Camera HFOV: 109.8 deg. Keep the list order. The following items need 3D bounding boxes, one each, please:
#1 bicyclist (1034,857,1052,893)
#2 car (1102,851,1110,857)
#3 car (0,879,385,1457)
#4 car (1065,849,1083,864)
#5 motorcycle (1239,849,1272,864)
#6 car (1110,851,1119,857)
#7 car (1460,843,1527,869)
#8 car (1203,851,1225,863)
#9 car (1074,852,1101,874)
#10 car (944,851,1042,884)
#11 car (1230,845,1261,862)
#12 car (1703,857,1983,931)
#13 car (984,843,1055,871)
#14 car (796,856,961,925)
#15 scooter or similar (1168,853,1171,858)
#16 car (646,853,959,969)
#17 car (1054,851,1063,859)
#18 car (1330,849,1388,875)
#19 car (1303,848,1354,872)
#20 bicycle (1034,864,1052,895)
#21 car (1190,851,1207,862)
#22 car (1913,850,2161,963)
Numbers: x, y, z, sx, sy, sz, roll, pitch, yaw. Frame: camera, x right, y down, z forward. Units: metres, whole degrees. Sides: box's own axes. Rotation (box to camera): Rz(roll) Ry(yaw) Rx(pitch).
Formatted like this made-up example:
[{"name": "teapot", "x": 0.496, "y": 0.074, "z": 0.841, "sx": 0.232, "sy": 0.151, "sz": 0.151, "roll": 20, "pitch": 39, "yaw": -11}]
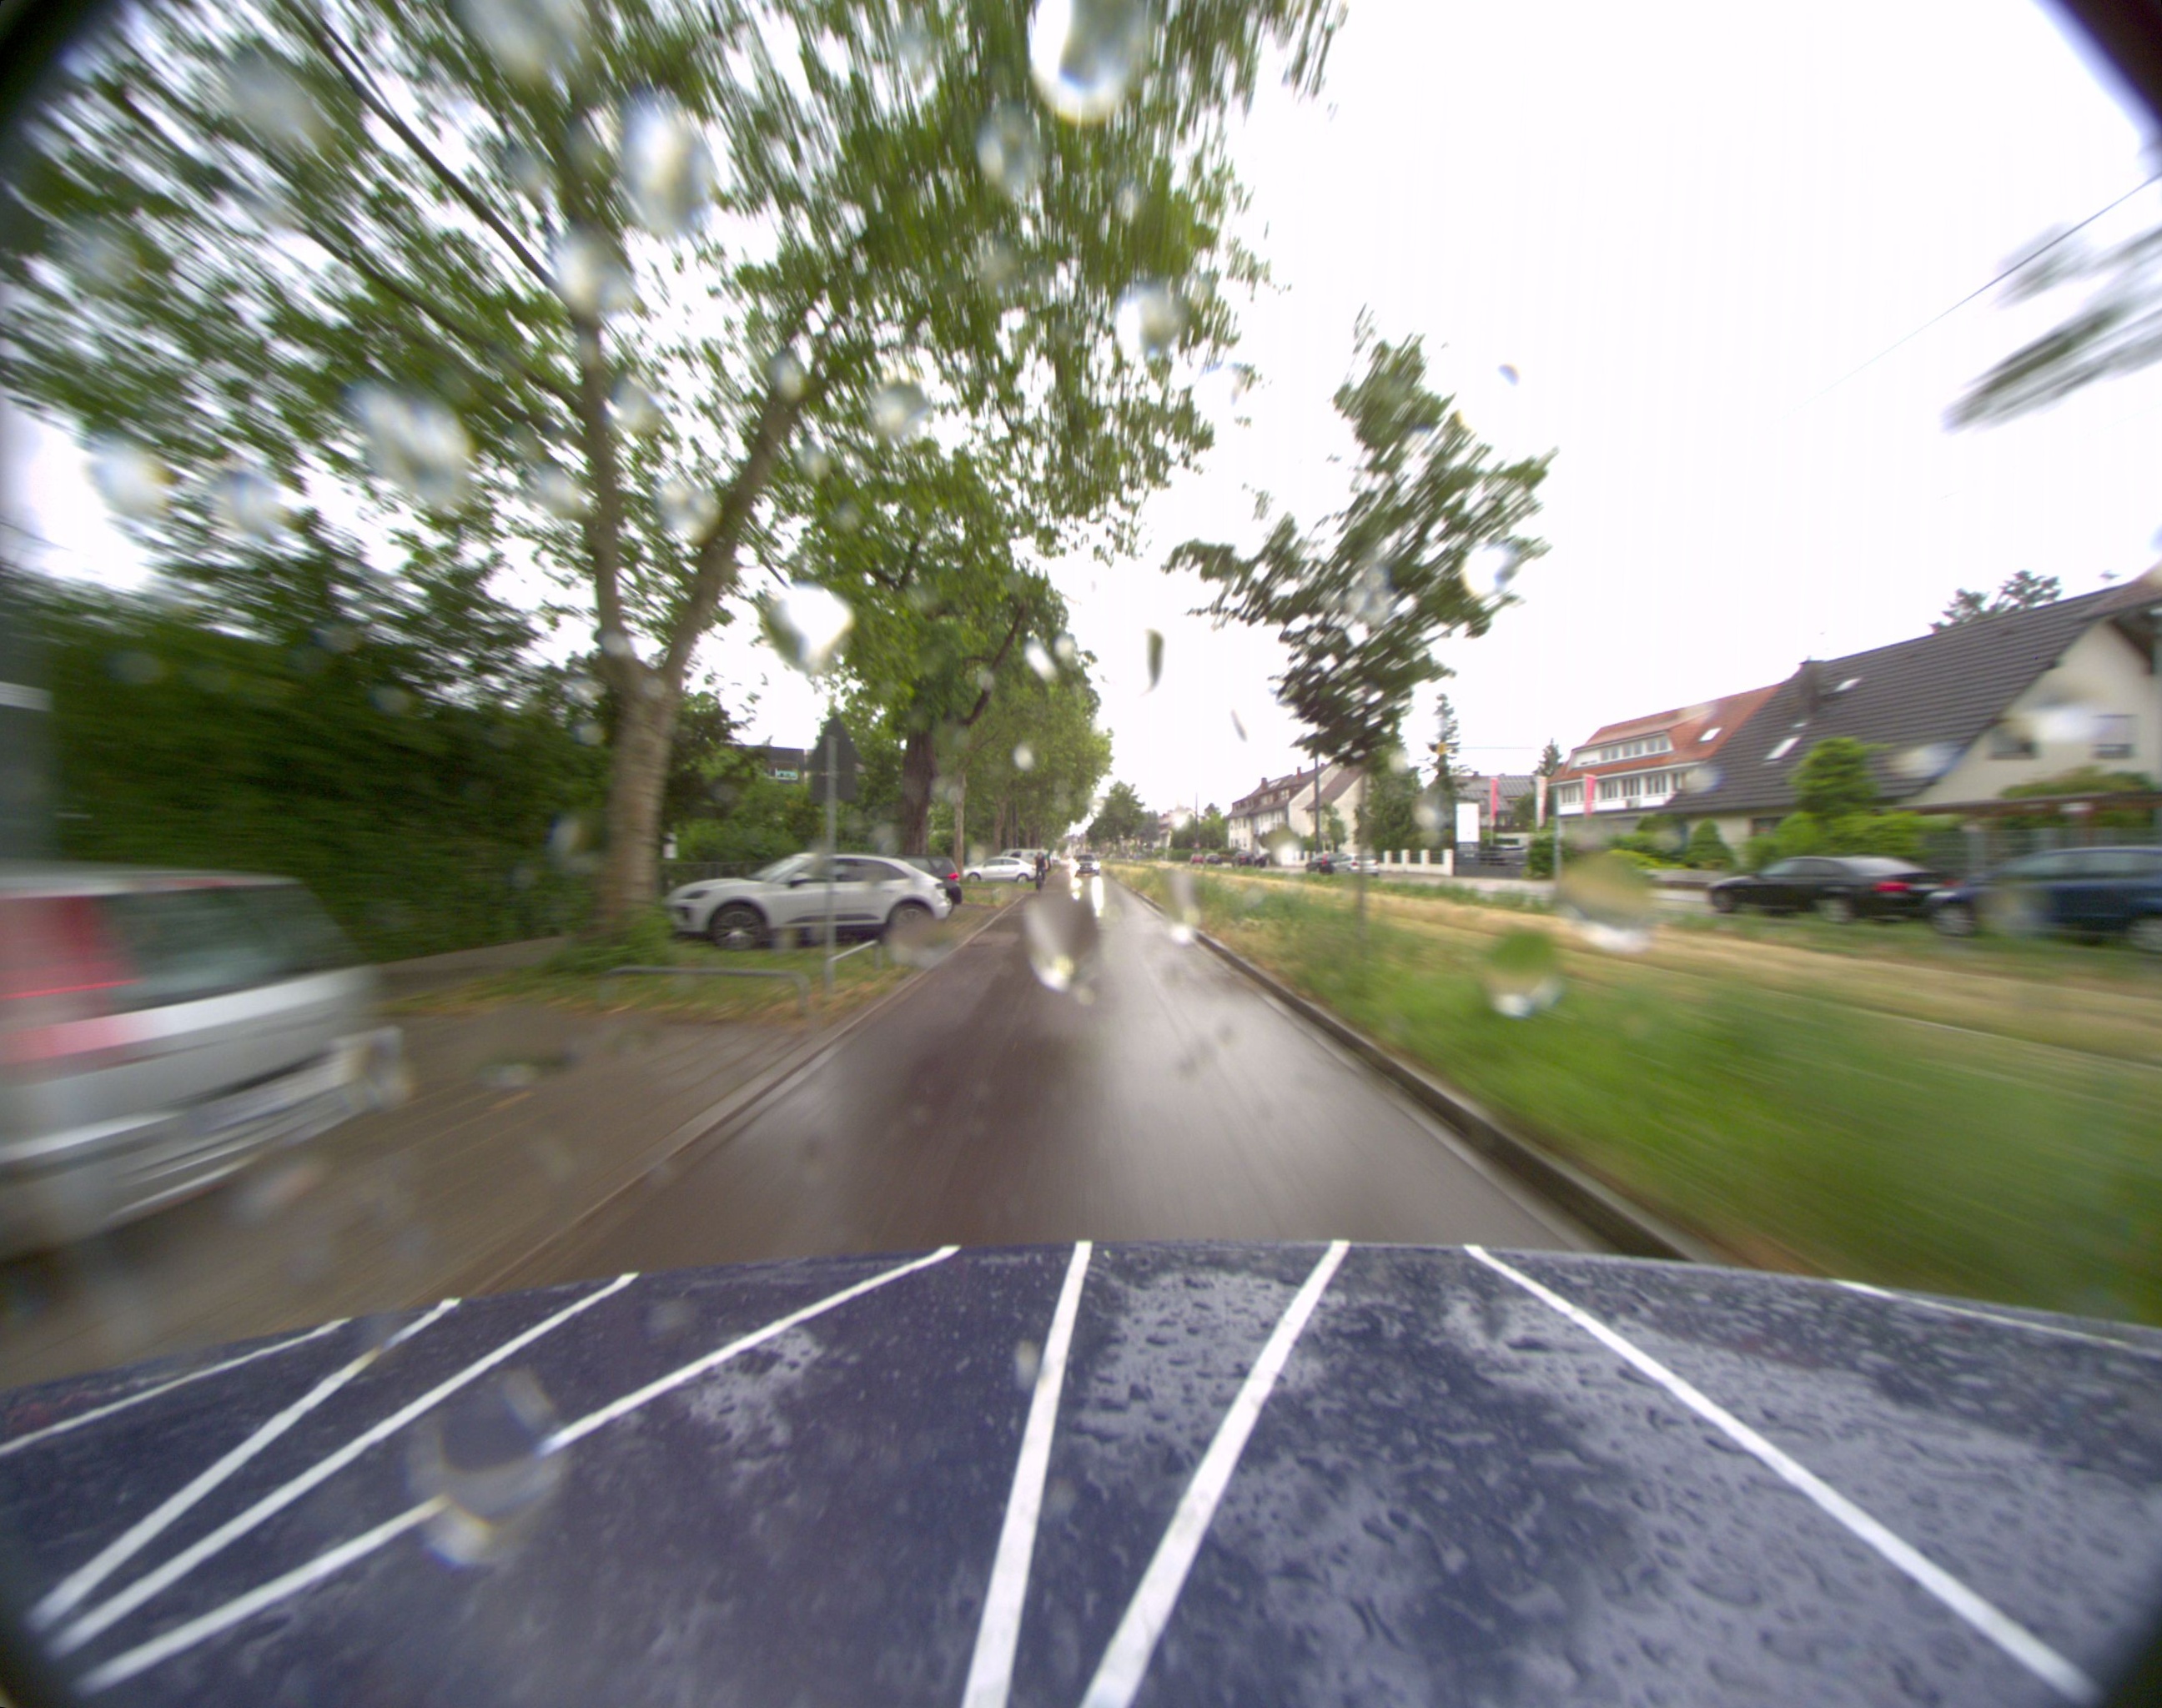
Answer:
[{"name": "bicyclist", "x": -1.544, "y": 0.828, "z": 30.800, "sx": 0.675, "sy": 1.421, "sz": 0.753, "roll": 1, "pitch": 1, "yaw": -4}, {"name": "car", "x": 8.183, "y": -0.026, "z": 246.562, "sx": 2.000, "sy": 2.002, "sz": 3.997, "roll": 0, "pitch": 0, "yaw": -8}, {"name": "car", "x": -4.999, "y": 0.883, "z": 2.346, "sx": 3.870, "sy": 1.557, "sz": 1.616, "roll": 1, "pitch": 0, "yaw": -17}, {"name": "car", "x": -0.759, "y": 0.262, "z": 81.456, "sx": 1.781, "sy": 1.477, "sz": 3.999, "roll": 2, "pitch": 0, "yaw": -1}, {"name": "motorcycle", "x": 16.681, "y": 0.254, "z": 72.644, "sx": 2.680, "sy": 1.403, "sz": 1.269, "roll": -1, "pitch": 2, "yaw": 42}, {"name": "car", "x": 9.907, "y": -0.012, "z": 225.215, "sx": 2.000, "sy": 2.002, "sz": 3.997, "roll": 0, "pitch": 0, "yaw": -7}, {"name": "car", "x": 24.097, "y": 0.121, "z": 44.550, "sx": 1.703, "sy": 1.402, "sz": 3.971, "roll": -3, "pitch": 0, "yaw": 0}, {"name": "car", "x": 16.472, "y": 0.352, "z": 94.540, "sx": 1.998, "sy": 1.402, "sz": 4.762, "roll": -3, "pitch": 0, "yaw": 2}, {"name": "car", "x": 0.441, "y": 0.635, "z": 54.925, "sx": 1.781, "sy": 1.477, "sz": 3.999, "roll": 2, "pitch": 0, "yaw": -1}, {"name": "car", "x": -4.440, "y": 0.704, "z": 38.764, "sx": 4.569, "sy": 1.535, "sz": 1.883, "roll": 2, "pitch": -1, "yaw": -32}, {"name": "car", "x": 16.812, "y": -0.083, "z": 77.831, "sx": 1.999, "sy": 1.665, "sz": 4.386, "roll": -1, "pitch": 1, "yaw": -2}, {"name": "car", "x": 16.558, "y": 0.791, "z": 16.903, "sx": 1.998, "sy": 1.343, "sz": 4.240, "roll": -3, "pitch": 0, "yaw": 2}, {"name": "car", "x": -4.672, "y": 0.237, "z": 57.697, "sx": 5.039, "sy": 2.001, "sz": 1.995, "roll": 1, "pitch": -1, "yaw": -35}, {"name": "car", "x": -5.077, "y": 0.850, "z": 19.207, "sx": 3.721, "sy": 1.557, "sz": 1.615, "roll": 0, "pitch": 1, "yaw": -32}, {"name": "scooter or similar", "x": 17.069, "y": 0.350, "z": 146.319, "sx": 0.347, "sy": 0.905, "sz": 1.258, "roll": 0, "pitch": 0, "yaw": -6}, {"name": "car", "x": -4.772, "y": 0.837, "z": 13.370, "sx": 4.784, "sy": 1.658, "sz": 1.989, "roll": -1, "pitch": 1, "yaw": -36}, {"name": "car", "x": -4.484, "y": 0.245, "z": 153.341, "sx": 1.781, "sy": 1.477, "sz": 3.999, "roll": 2, "pitch": 0, "yaw": -1}, {"name": "car", "x": 16.712, "y": 0.480, "z": 45.889, "sx": 1.999, "sy": 1.402, "sz": 3.971, "roll": -3, "pitch": 0, "yaw": 0}, {"name": "car", "x": 16.559, "y": 0.383, "z": 51.069, "sx": 1.998, "sy": 1.447, "sz": 4.531, "roll": -3, "pitch": 0, "yaw": 2}, {"name": "bicycle", "x": -1.557, "y": 1.023, "z": 30.938, "sx": 0.675, "sy": 1.136, "sz": 2.444, "roll": 1, "pitch": 0, "yaw": -4}, {"name": "car", "x": 16.327, "y": 0.329, "z": 105.892, "sx": 1.802, "sy": 1.448, "sz": 4.000, "roll": -3, "pitch": 0, "yaw": 2}, {"name": "car", "x": 16.395, "y": 0.755, "z": 12.168, "sx": 1.878, "sy": 1.541, "sz": 3.870, "roll": -3, "pitch": 0, "yaw": 0}]
